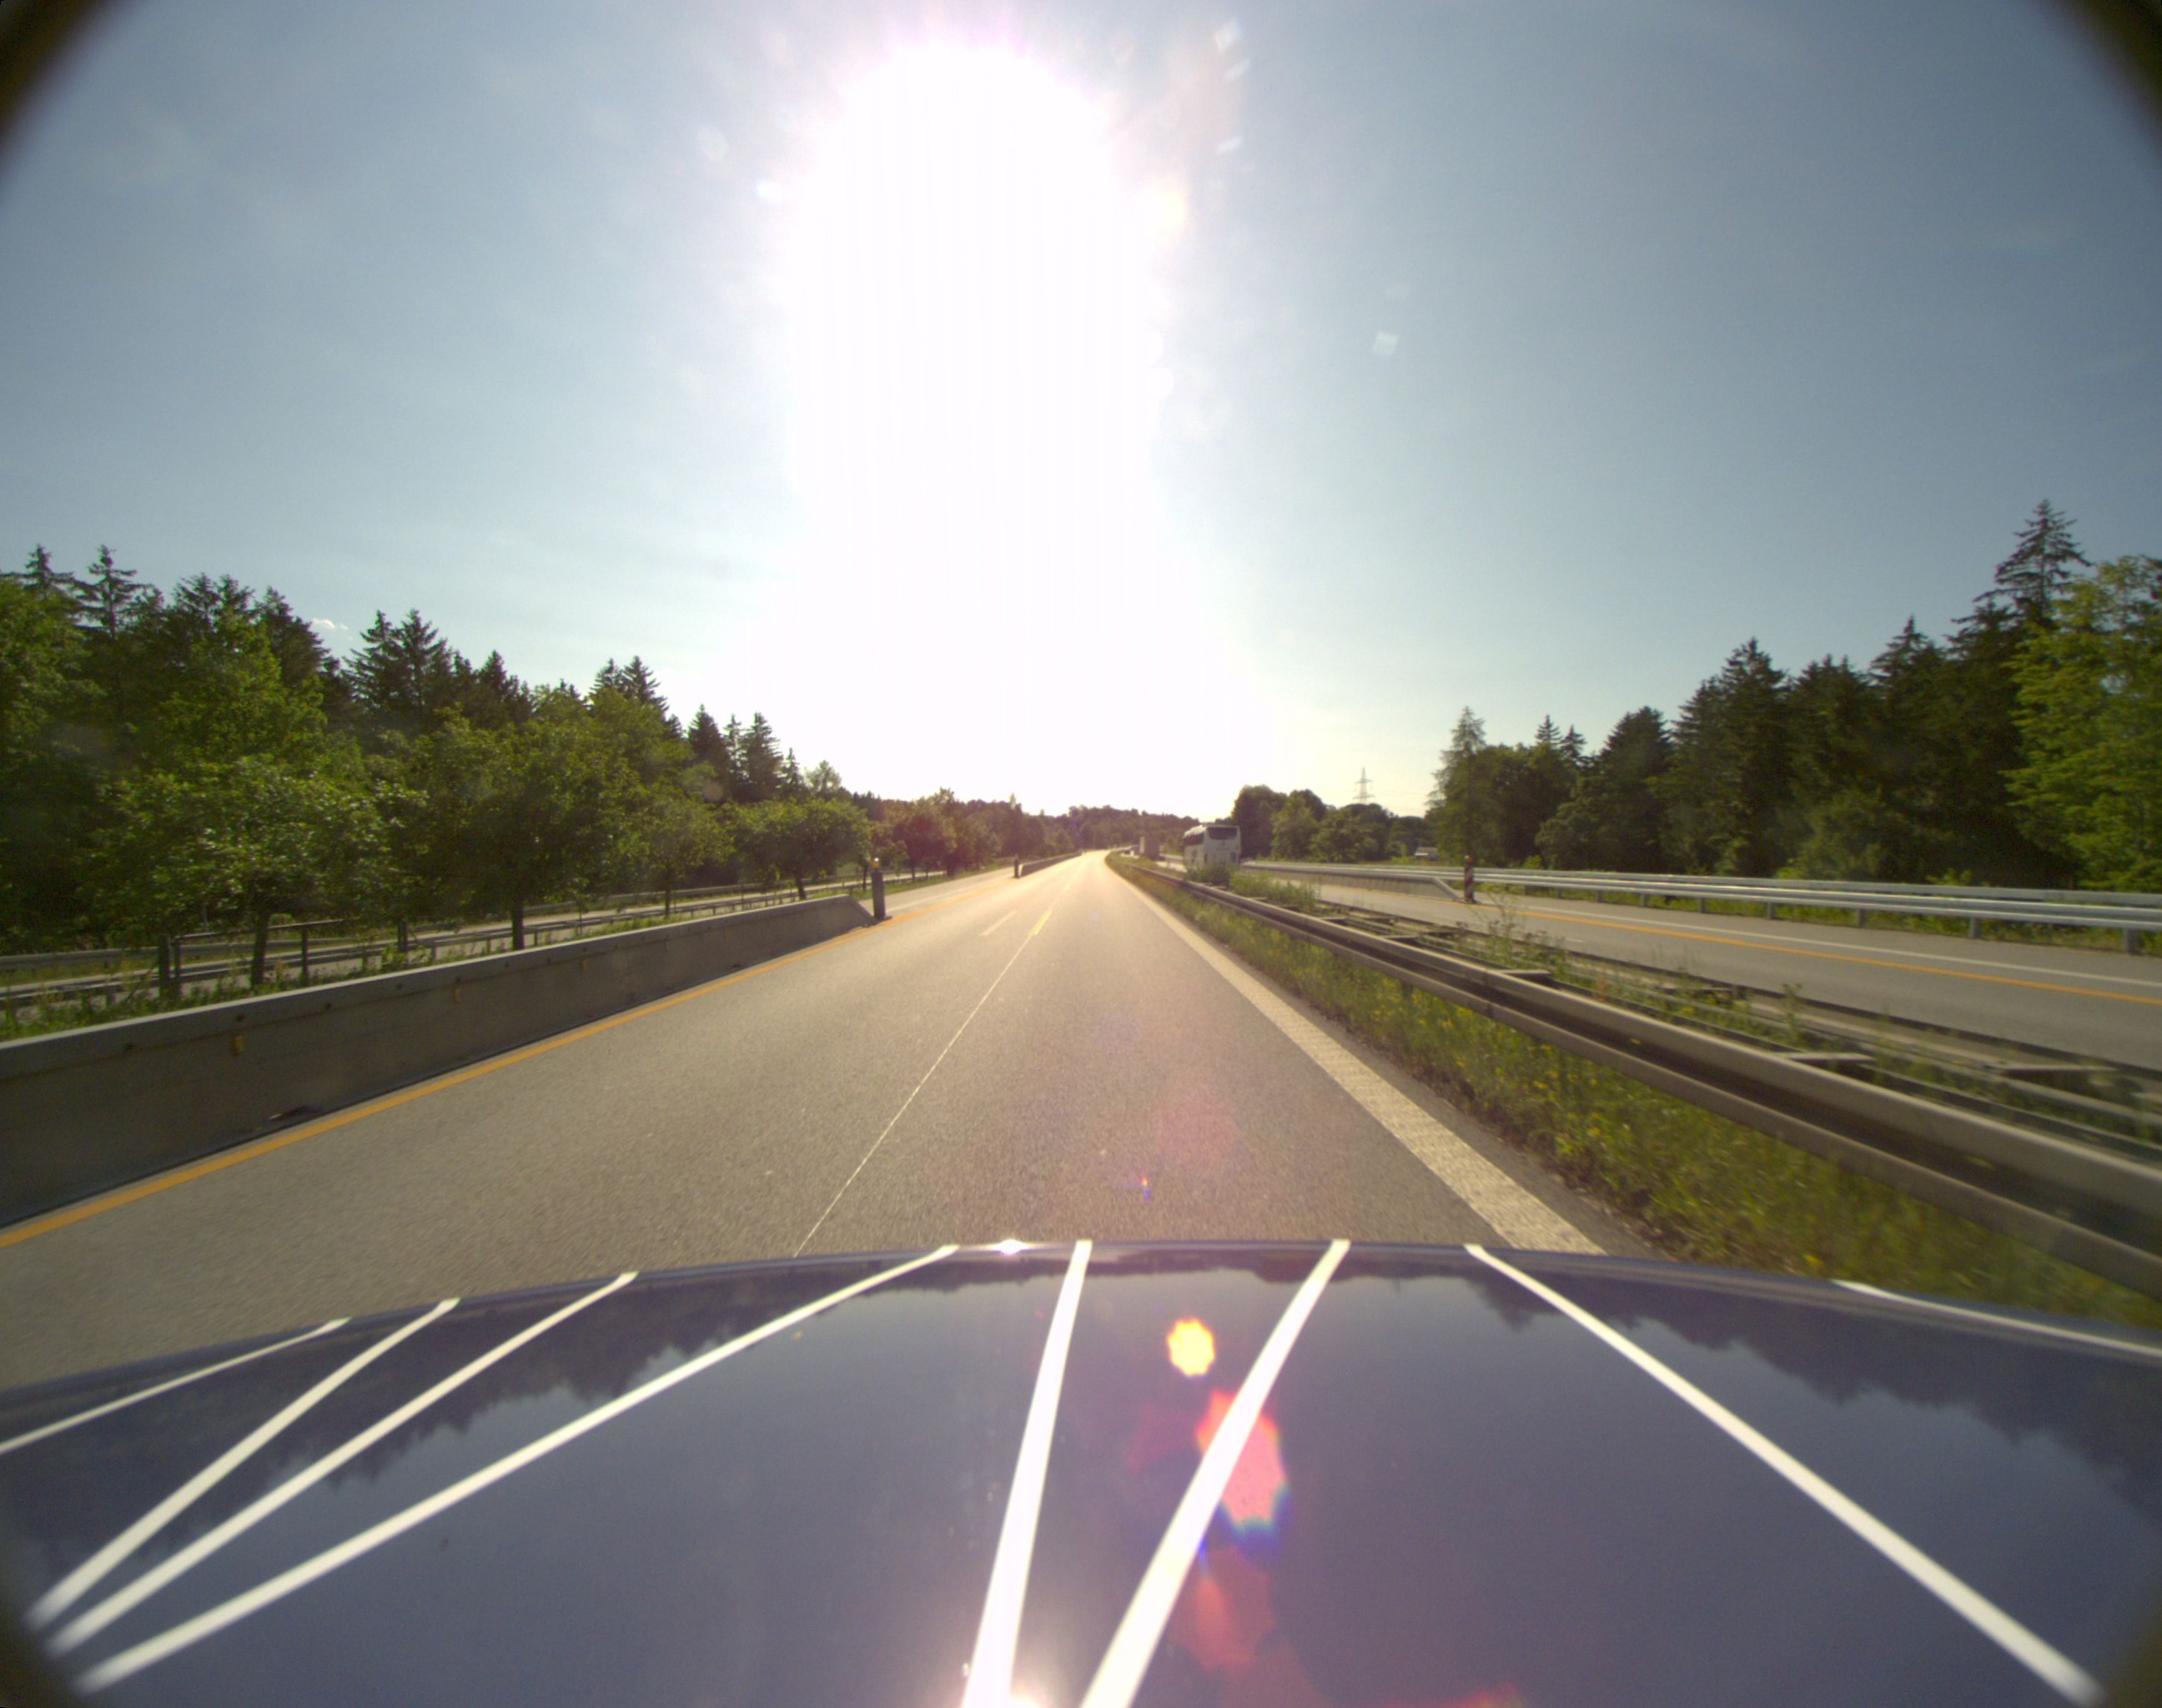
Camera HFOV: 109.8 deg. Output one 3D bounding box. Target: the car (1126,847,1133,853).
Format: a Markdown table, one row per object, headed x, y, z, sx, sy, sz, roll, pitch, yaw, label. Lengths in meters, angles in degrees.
| x | y | z | sx | sy | sz | roll | pitch | yaw | label |
| --- | --- | --- | --- | --- | --- | --- | --- | --- | --- |
| 13.299 | -1.024 | 207.621 | 1.746 | 1.521 | 4.000 | 2 | 1 | 2 | car |

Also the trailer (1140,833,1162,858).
| x | y | z | sx | sy | sz | roll | pitch | yaw | label |
| --- | --- | --- | --- | --- | --- | --- | --- | --- | --- |
| 12.057 | -1.441 | 132.544 | 2.748 | 4.047 | 13.995 | 2 | 1 | 1 | trailer |

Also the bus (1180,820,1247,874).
| x | y | z | sx | sy | sz | roll | pitch | yaw | label |
| --- | --- | --- | --- | --- | --- | --- | --- | --- | --- |
| 9.922 | -0.519 | 58.596 | 2.889 | 3.649 | 12.916 | -1 | 0 | 0 | bus |

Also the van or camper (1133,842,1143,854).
| x | y | z | sx | sy | sz | roll | pitch | yaw | label |
| --- | --- | --- | --- | --- | --- | --- | --- | --- | --- |
| 14.964 | -1.597 | 201.018 | 2.411 | 2.933 | 7.523 | 1 | 1 | 2 | van or camper |
